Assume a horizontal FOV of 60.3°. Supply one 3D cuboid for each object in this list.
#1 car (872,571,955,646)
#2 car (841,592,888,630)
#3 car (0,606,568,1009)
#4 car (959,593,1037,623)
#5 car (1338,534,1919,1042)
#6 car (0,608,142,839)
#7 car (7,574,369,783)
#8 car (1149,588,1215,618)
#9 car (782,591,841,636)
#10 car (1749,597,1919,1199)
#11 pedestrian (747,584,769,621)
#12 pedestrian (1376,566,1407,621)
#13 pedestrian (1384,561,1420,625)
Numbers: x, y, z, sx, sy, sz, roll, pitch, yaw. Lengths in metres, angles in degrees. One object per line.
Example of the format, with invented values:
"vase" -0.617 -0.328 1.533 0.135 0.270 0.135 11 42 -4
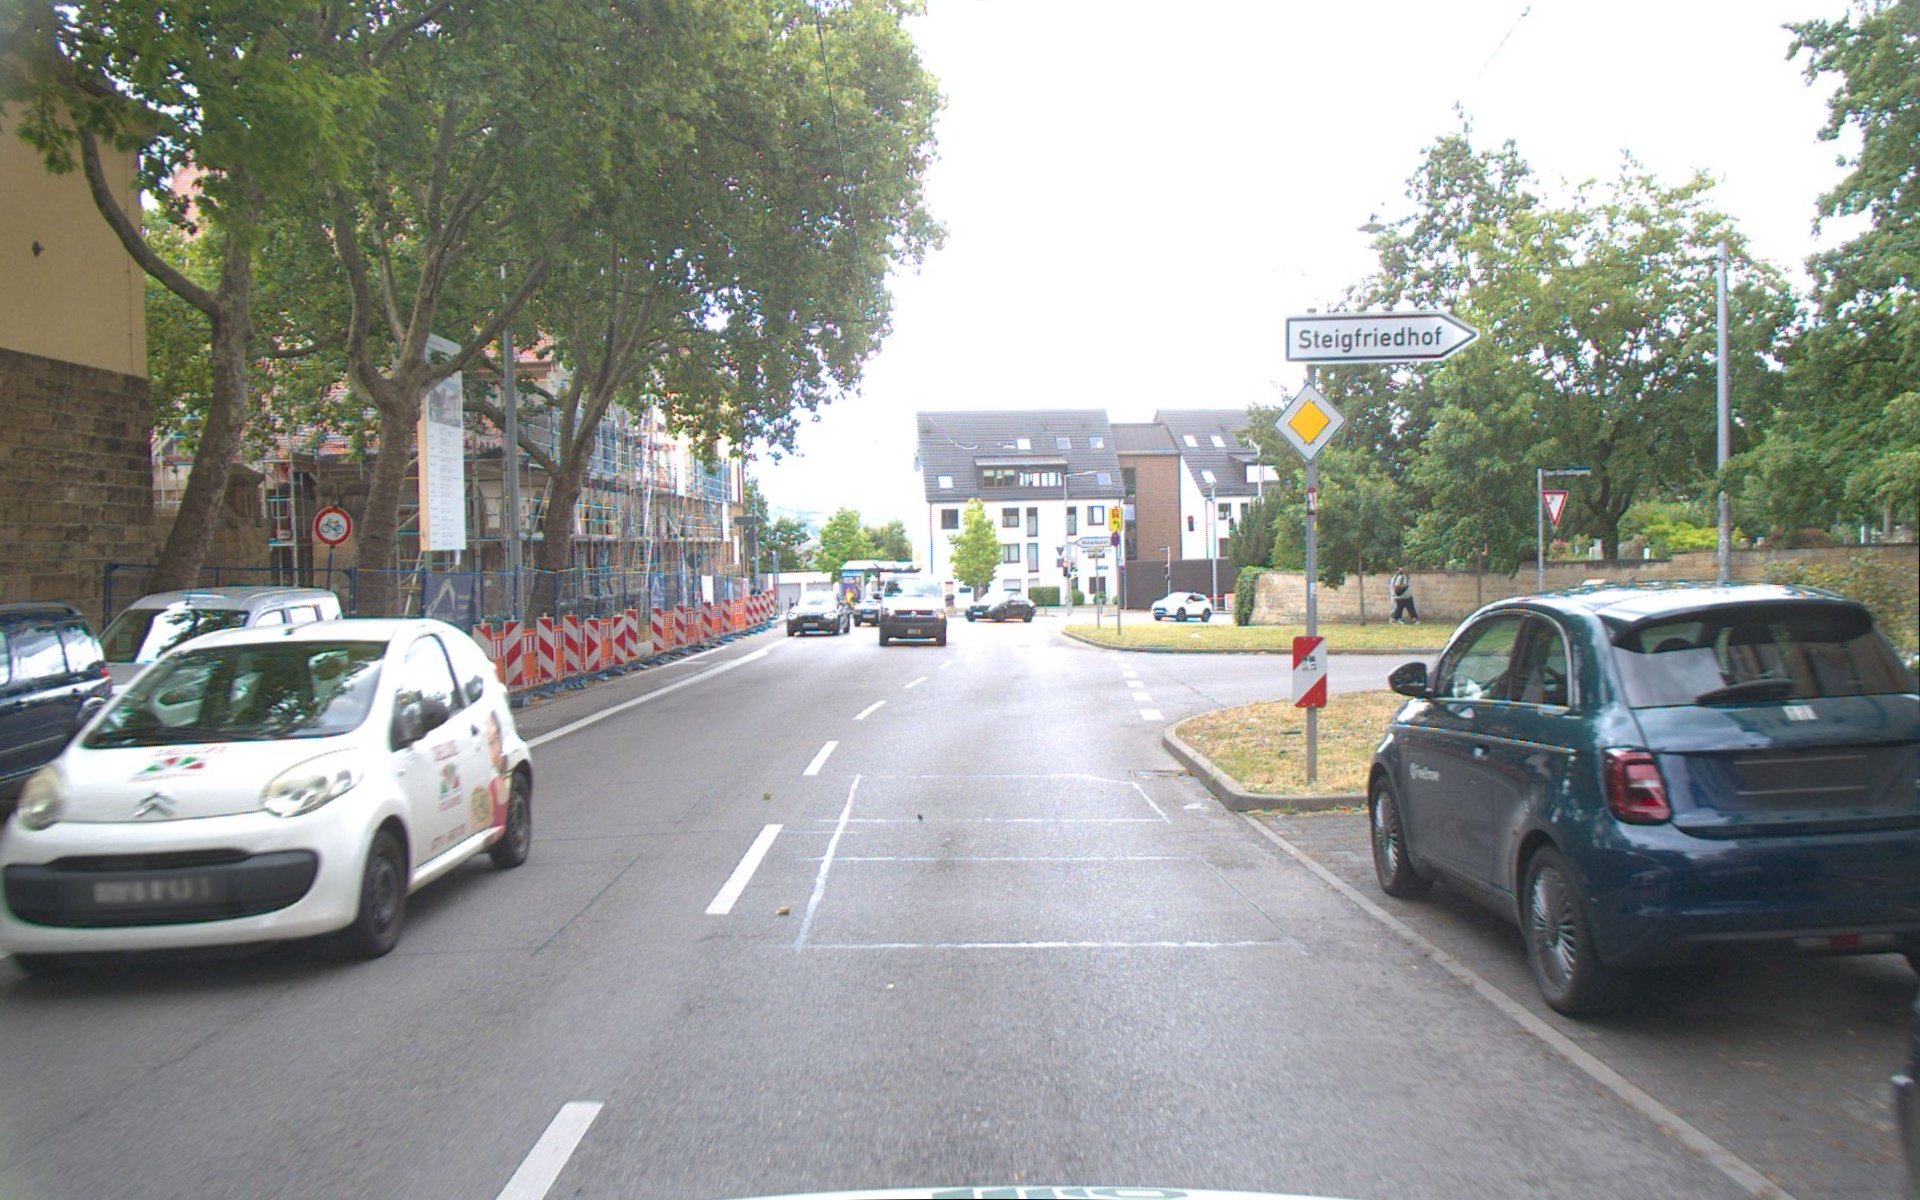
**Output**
"car" -1.240 0.214 46.491 2.160 1.965 5.240 -1 0 0
"car" -3.910 0.413 68.296 1.765 1.483 4.635 -1 0 -1
"car" -3.224 0.839 8.439 1.551 1.489 3.651 -4 0 -1
"car" 1.918 0.393 81.683 1.672 1.451 4.230 -1 0 38
"car" 2.896 0.601 7.284 1.533 1.638 3.653 -2 0 -1
"car" -7.704 0.895 12.212 1.478 1.660 4.112 1 0 -4
"car" -8.040 0.728 17.745 1.796 1.909 4.416 -2 0 -1
"car" 13.149 0.170 97.751 1.763 1.639 4.487 -1 1 39
"car" -4.970 0.421 55.758 1.665 1.451 4.248 -1 0 -1
"car" 2.912 0.723 1.662 1.704 1.488 4.772 -3 0 -3
"pedestrian" -9.718 0.132 79.558 0.903 1.750 0.799 1 -1 2
"pedestrian" 12.846 -0.194 49.279 0.573 1.612 0.569 -4 1 -29
"pedestrian" 12.385 -0.200 46.324 0.703 1.764 0.653 -2 1 -34
